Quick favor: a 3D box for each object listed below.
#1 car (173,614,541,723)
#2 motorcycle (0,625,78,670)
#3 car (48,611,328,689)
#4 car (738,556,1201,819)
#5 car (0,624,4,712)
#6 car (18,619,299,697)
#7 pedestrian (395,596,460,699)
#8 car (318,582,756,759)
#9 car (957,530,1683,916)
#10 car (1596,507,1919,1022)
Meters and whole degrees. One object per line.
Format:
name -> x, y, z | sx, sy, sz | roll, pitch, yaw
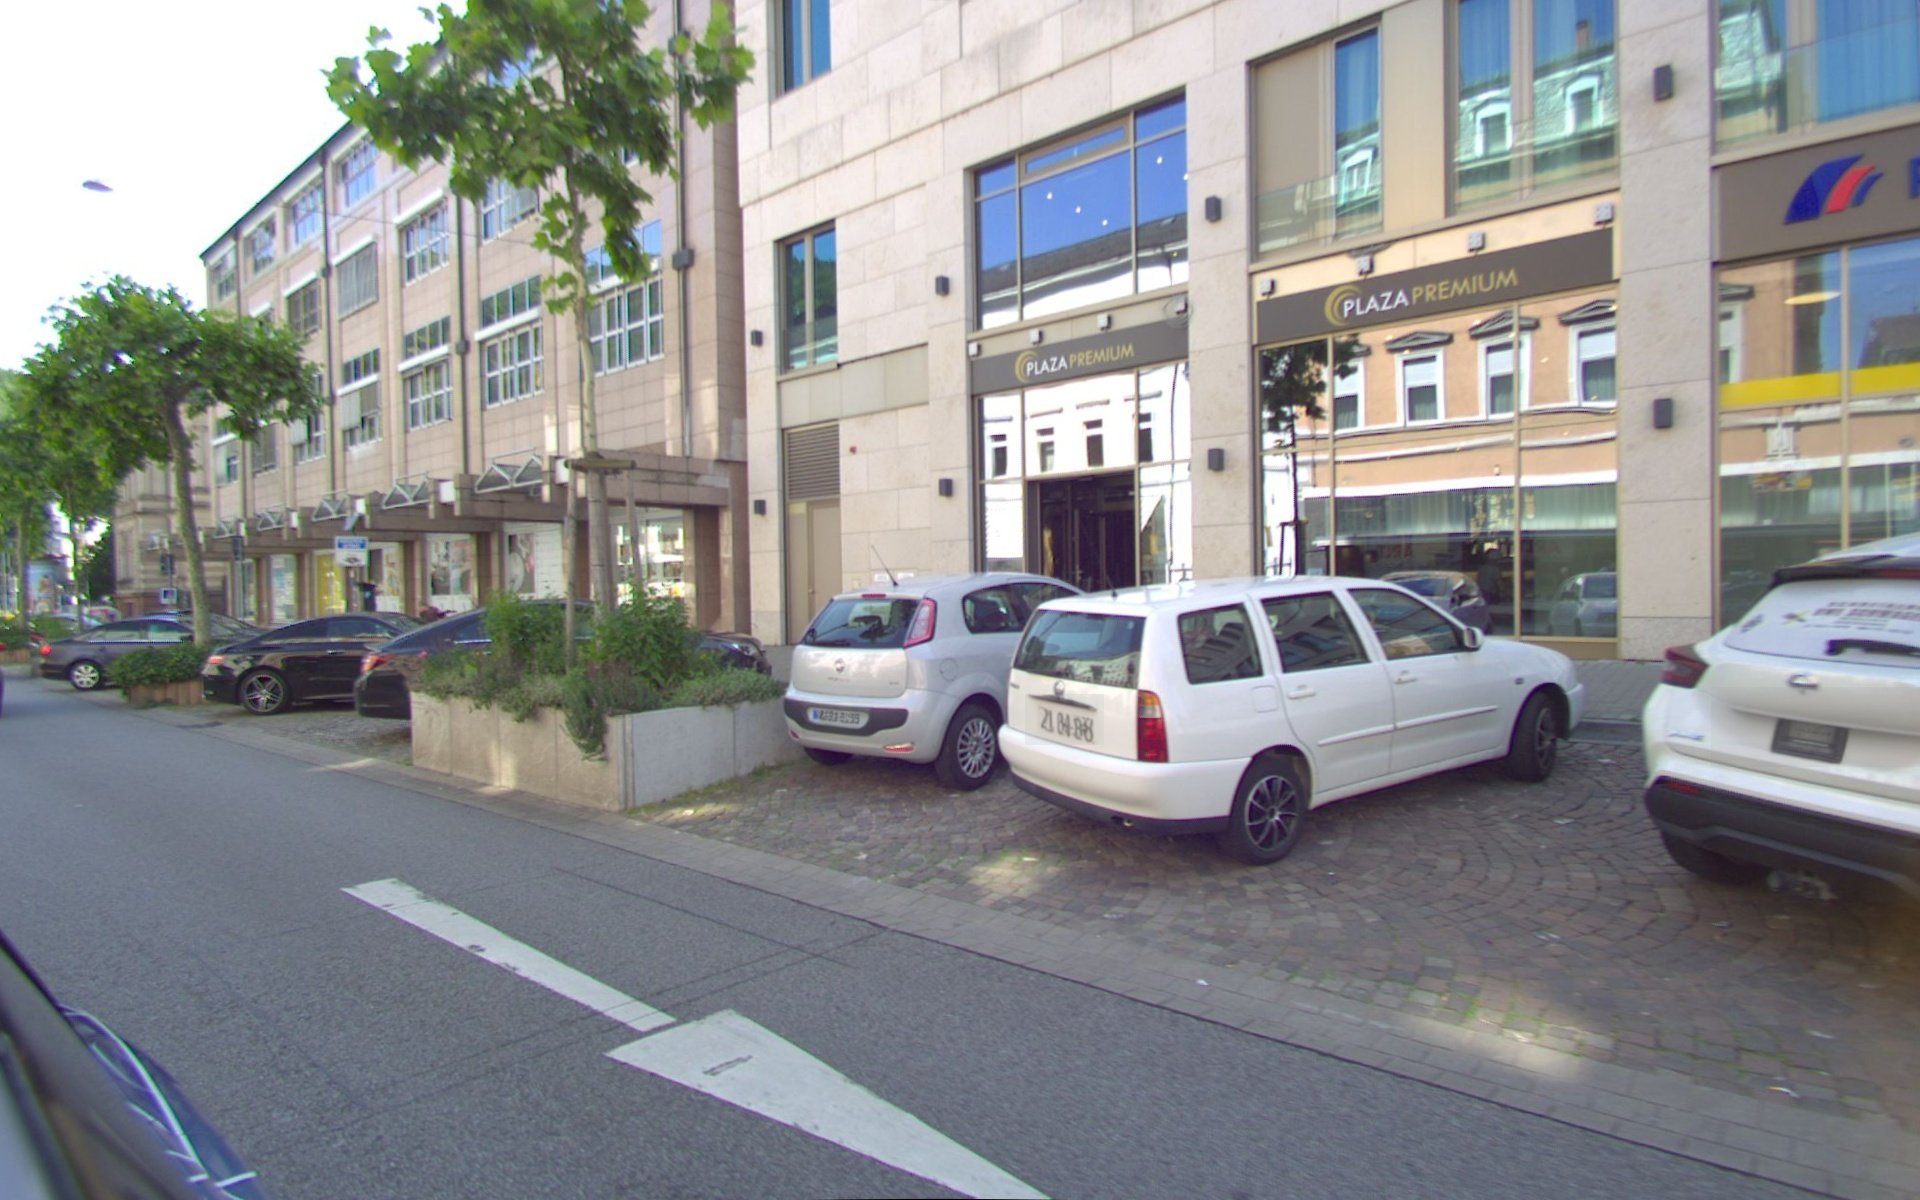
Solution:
car -> -9.064, 0.998, 15.532 | 4.551, 1.457, 1.735 | -1, 0, -5
motorcycle -> -30.272, 1.535, 32.466 | 3.058, 1.361, 0.979 | -1, -1, -2
car -> -18.276, 1.147, 24.195 | 5.051, 1.645, 1.847 | -1, -1, -10
car -> 0.302, 0.490, 8.616 | 1.819, 1.539, 3.948 | 1, 5, 40
car -> -16.329, 1.140, 15.536 | 4.102, 1.489, 1.845 | -3, -4, 39
car -> -16.910, 1.193, 21.573 | 4.333, 1.457, 1.890 | -1, -1, -9
pedestrian -> -10.063, 0.872, 19.123 | 0.844, 1.893, 0.829 | -1, -1, 42
car -> -4.889, 0.720, 12.236 | 4.455, 1.516, 1.798 | -5, 2, -18
car -> 2.410, 0.474, 6.476 | 4.426, 1.443, 1.869 | -7, 4, -29
car -> 4.943, 0.388, 4.048 | 3.971, 1.604, 1.825 | -6, 4, -16
